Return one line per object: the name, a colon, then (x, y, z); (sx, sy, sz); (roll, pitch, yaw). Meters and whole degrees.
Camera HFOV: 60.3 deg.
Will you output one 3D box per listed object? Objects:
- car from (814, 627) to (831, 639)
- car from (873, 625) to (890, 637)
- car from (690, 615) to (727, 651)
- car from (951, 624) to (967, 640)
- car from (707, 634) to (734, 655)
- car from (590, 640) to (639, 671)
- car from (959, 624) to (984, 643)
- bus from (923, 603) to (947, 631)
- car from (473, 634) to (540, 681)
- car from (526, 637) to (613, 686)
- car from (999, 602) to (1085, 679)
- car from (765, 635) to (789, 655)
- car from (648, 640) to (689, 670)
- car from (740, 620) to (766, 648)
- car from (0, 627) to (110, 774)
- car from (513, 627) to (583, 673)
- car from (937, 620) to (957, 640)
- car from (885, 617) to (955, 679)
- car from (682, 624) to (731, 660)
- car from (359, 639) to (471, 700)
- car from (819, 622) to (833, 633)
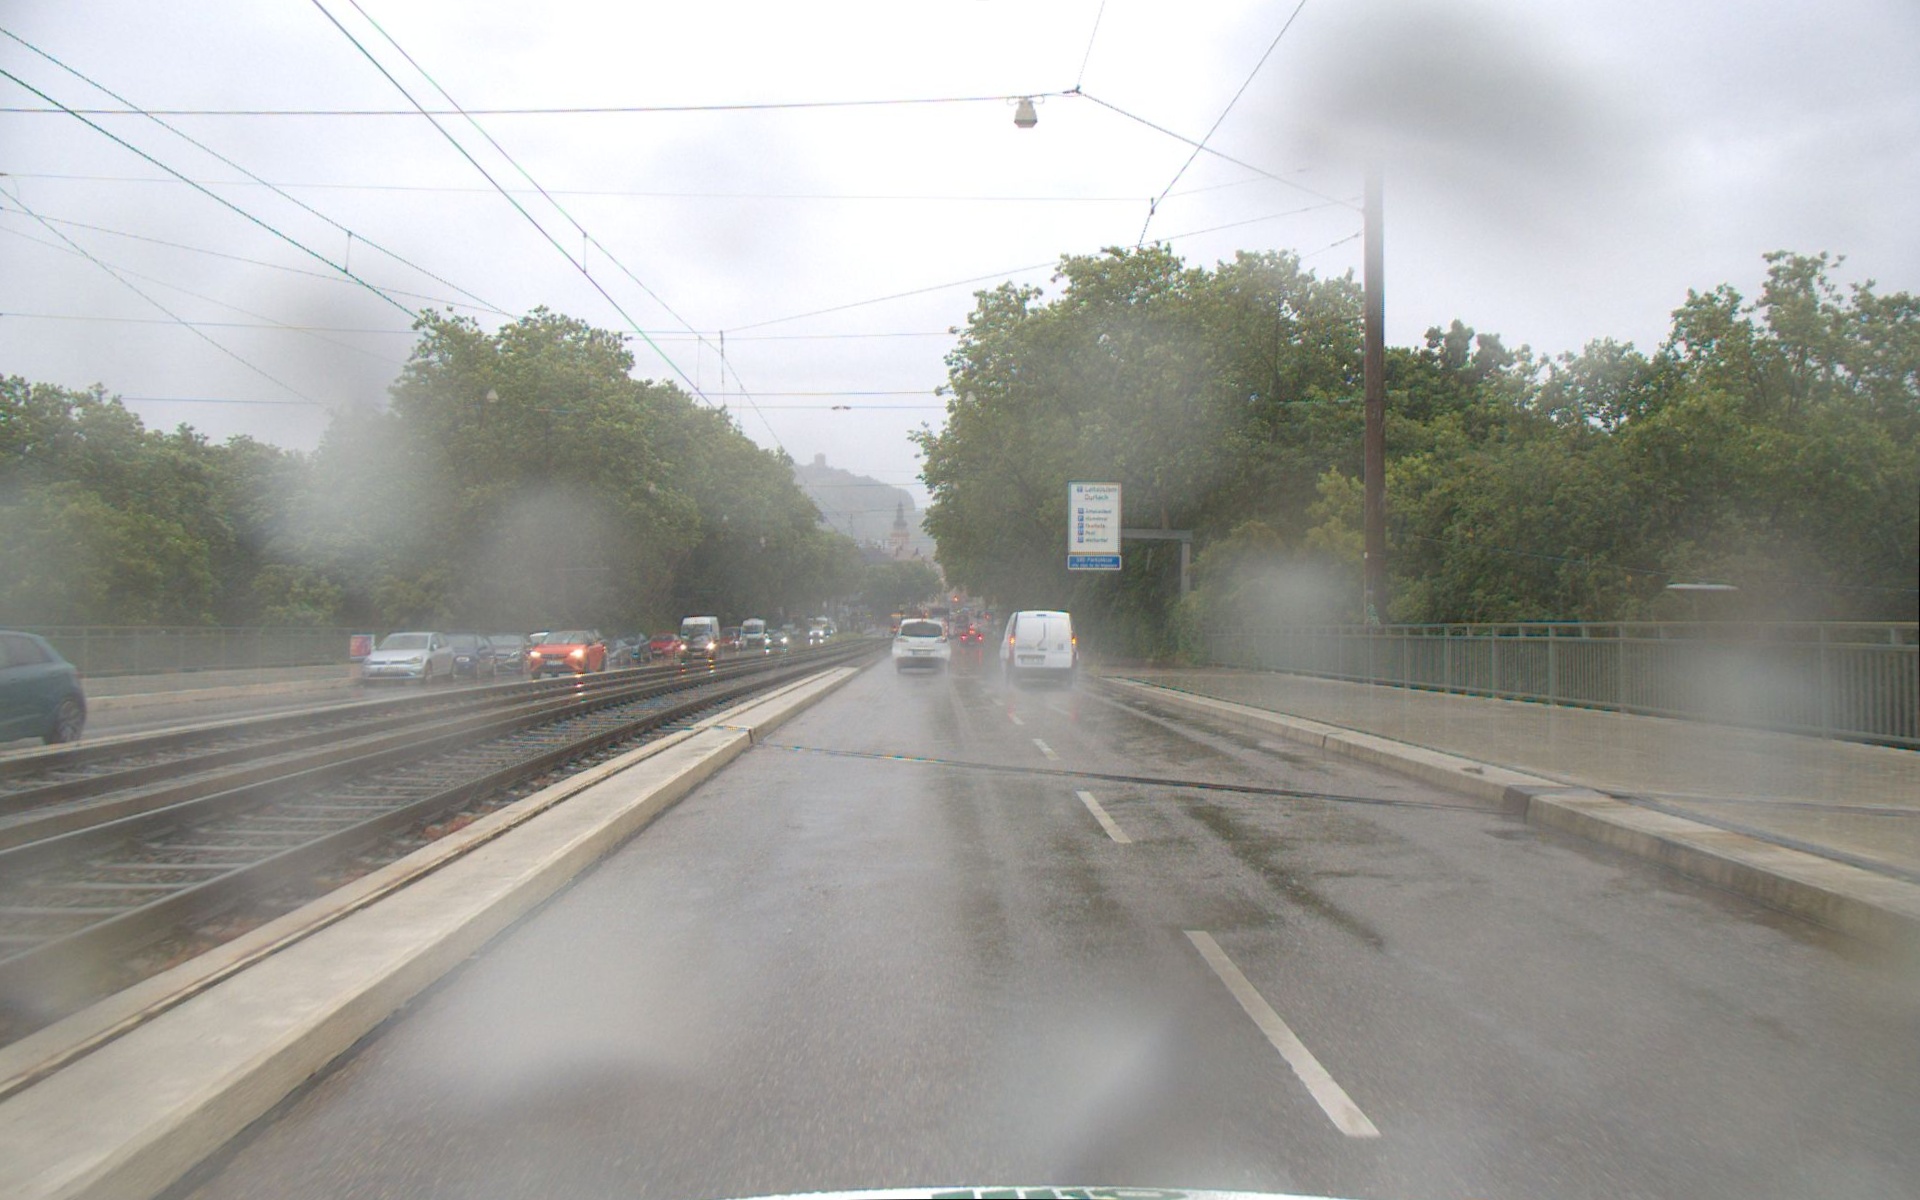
car: (-17.376, 4.149, 208.763); (1.768, 1.374, 4.263); (-2, 0, -1)
car: (-10.709, 4.225, 225.218); (1.767, 1.374, 4.266); (-2, 0, 4)
car: (-16.593, 2.143, 109.177); (1.706, 2.207, 5.811); (-2, 0, -2)
car: (-0.131, 3.997, 207.565); (1.952, 1.859, 4.000); (1, 0, 1)
car: (-17.841, 3.311, 123.411); (1.475, 1.374, 4.026); (-2, 0, -1)
car: (-15.770, 2.518, 75.609); (1.475, 1.193, 3.711); (-2, 0, -1)
car: (0.913, 2.632, 130.168); (1.952, 1.344, 4.000); (1, 0, 1)
bus: (-3.693, 2.469, 246.299); (3.320, 3.904, 9.739); (1, 0, 1)
car: (-15.699, 1.979, 57.429); (1.477, 1.425, 4.403); (-2, 0, -5)
car: (-12.104, 1.876, 51.486); (1.763, 1.339, 4.083); (1, 0, -1)
car: (1.977, 0.959, 40.870); (1.952, 1.756, 4.000); (1, 0, 1)
car: (-14.993, 3.681, 135.856); (1.475, 1.425, 4.706); (-2, 0, -1)
car: (-16.218, 3.062, 92.140); (1.577, 1.467, 4.261); (-2, 0, -1)
car: (-18.028, 2.966, 144.370); (1.764, 2.260, 4.276); (-2, 0, -1)
car: (-11.203, 1.095, 18.037); (1.763, 1.508, 4.083); (1, 0, -1)
car: (-15.679, 1.877, 63.166); (1.476, 1.425, 4.891); (-5, 0, -2)
car: (-1.286, 3.007, 166.675); (1.952, 1.859, 4.000); (1, 0, 1)
car: (-1.192, 1.443, 50.873); (1.952, 1.747, 4.000); (1, 0, 1)
car: (-12.466, 2.046, 81.588); (1.779, 1.392, 4.265); (1, 3, -1)
car: (-15.371, 1.924, 46.868); (1.826, 1.481, 4.318); (-2, 0, -2)
car: (-18.907, 3.895, 233.399); (1.768, 1.374, 4.263); (-2, 0, -1)
